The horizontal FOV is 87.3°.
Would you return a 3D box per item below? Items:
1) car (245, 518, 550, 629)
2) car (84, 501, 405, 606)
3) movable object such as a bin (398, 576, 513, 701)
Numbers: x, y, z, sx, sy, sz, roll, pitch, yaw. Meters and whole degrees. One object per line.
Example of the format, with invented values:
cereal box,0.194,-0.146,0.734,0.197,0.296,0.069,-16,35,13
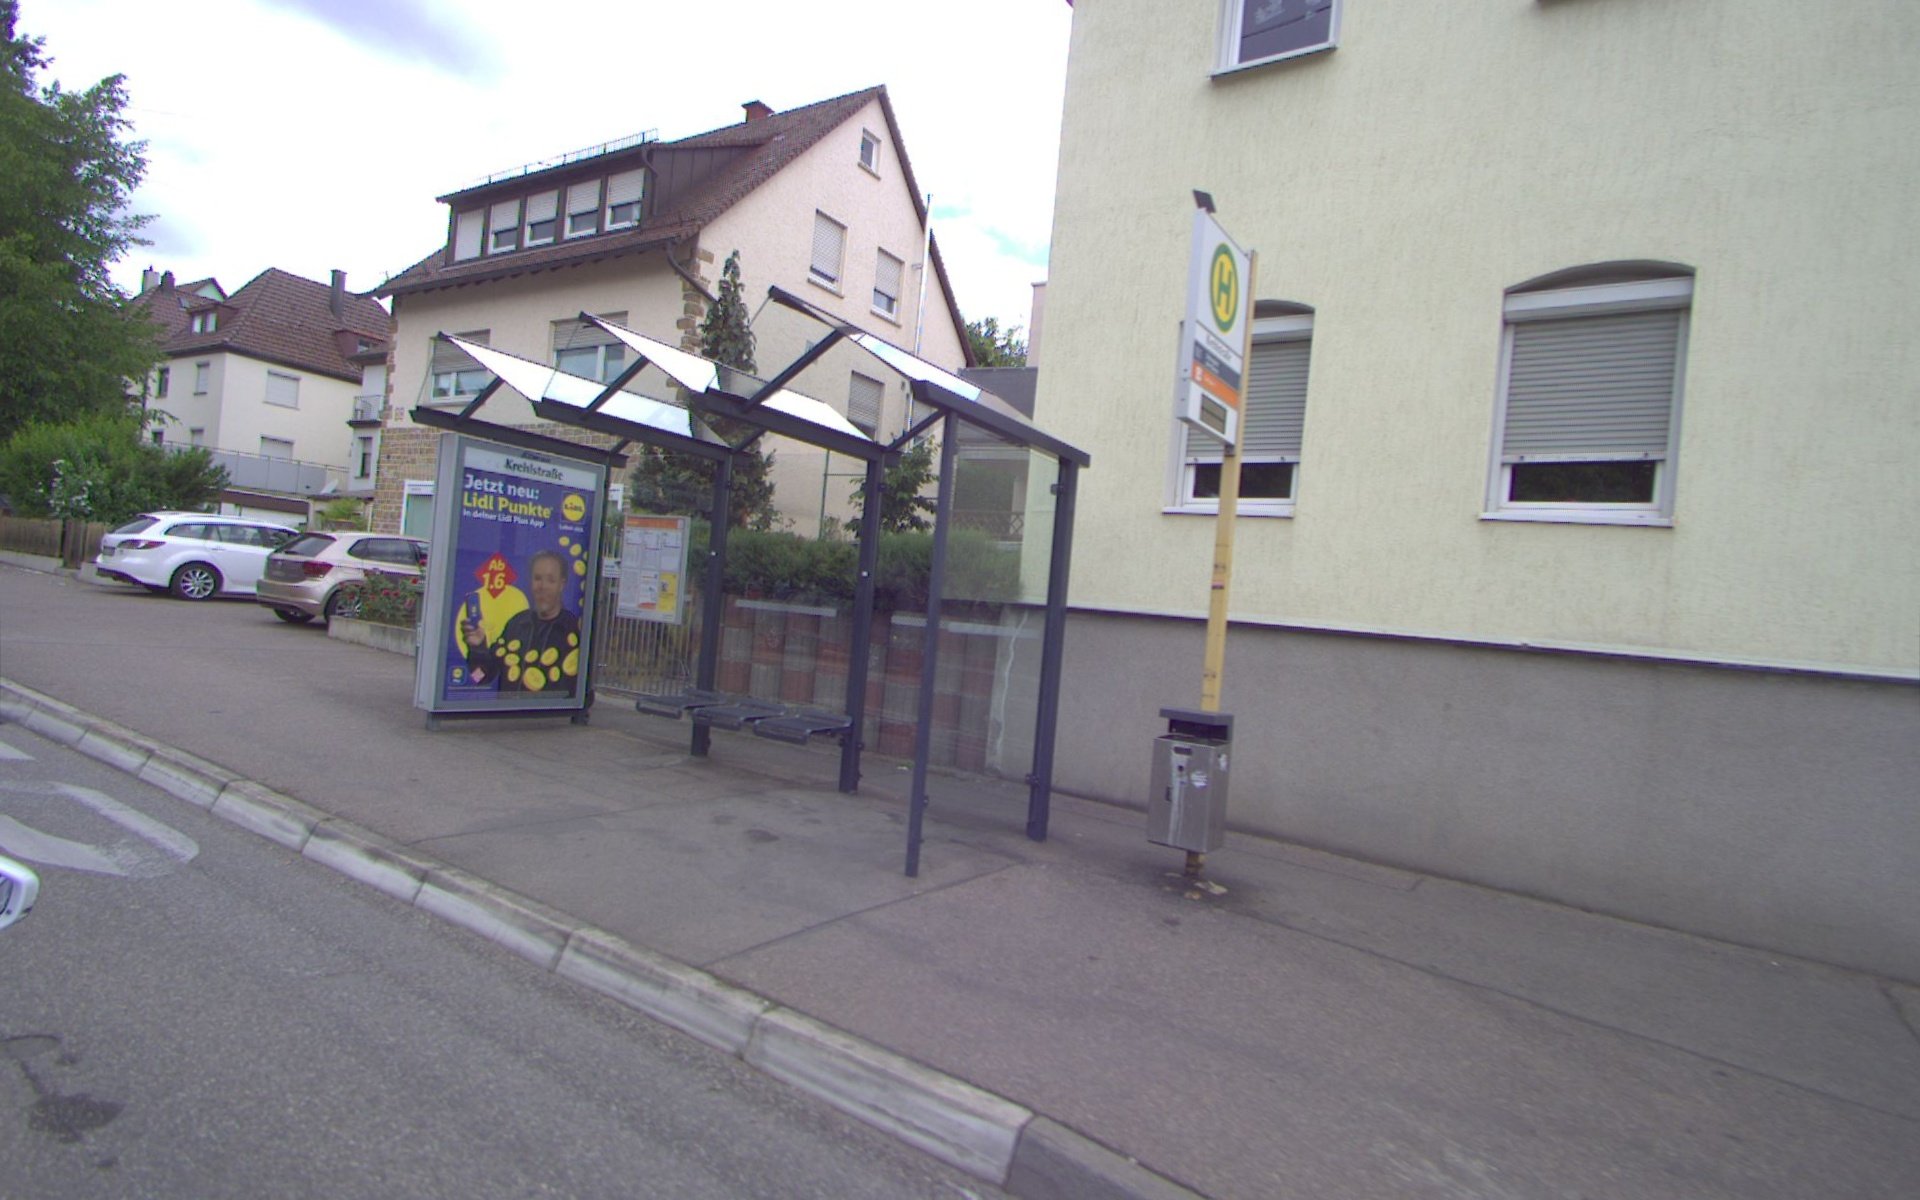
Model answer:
car,-8.571,-0.342,15.656,1.613,1.420,3.804,5,1,31
car,-12.928,-0.781,18.453,1.836,1.507,4.417,5,1,35
movable object such as a bin,-4.615,0.362,9.216,0.576,1.059,0.637,6,-1,28
